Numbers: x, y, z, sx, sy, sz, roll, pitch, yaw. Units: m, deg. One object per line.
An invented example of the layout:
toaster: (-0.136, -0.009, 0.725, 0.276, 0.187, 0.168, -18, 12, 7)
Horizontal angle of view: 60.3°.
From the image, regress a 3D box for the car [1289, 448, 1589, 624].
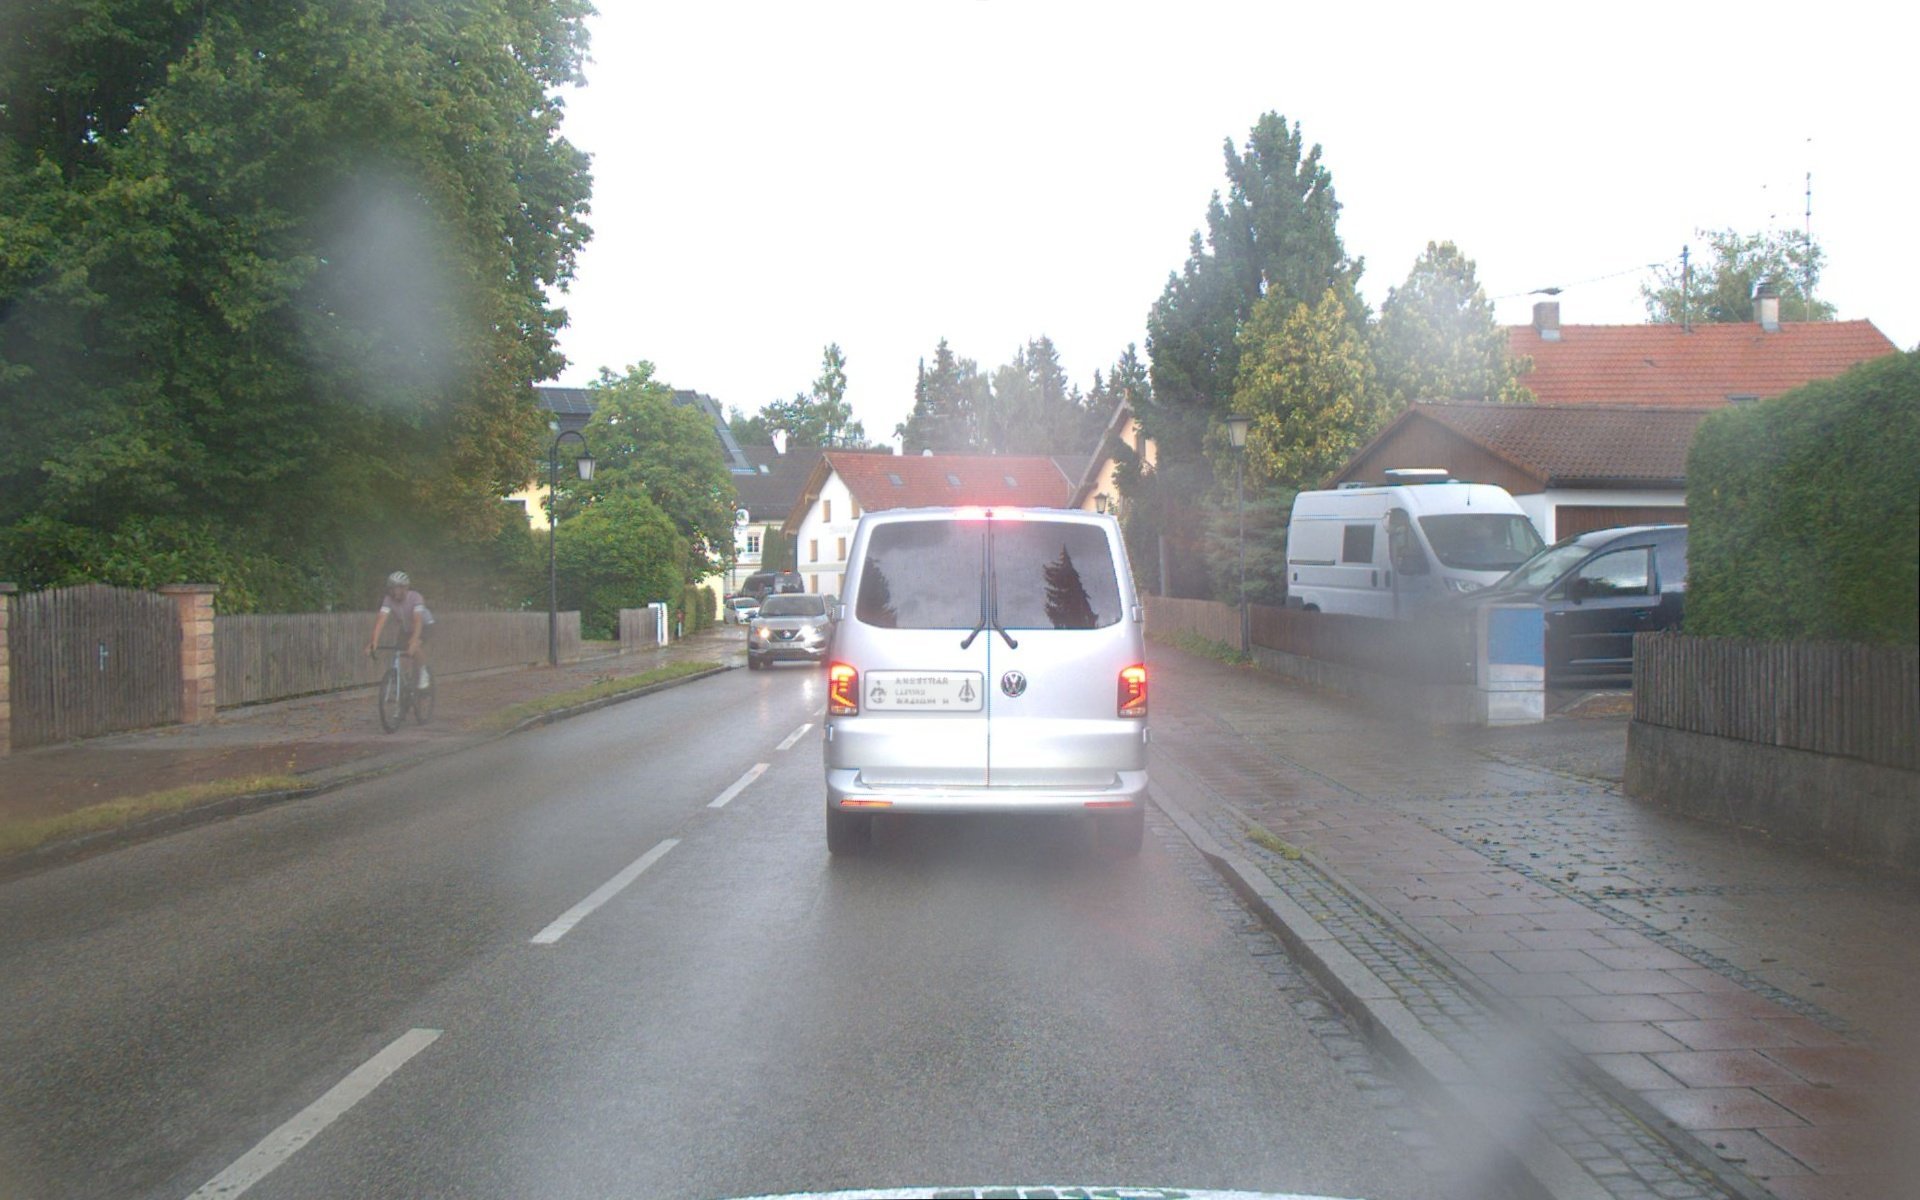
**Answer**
car: (6.691, -0.798, 23.776, 1.959, 2.211, 4.935, 1, -1, -13)

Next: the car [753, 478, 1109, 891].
car: (-0.074, 0.446, 10.390, 1.763, 2.049, 4.001, 1, -1, 2)

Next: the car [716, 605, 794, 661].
car: (-5.603, 0.898, 45.478, 1.584, 1.470, 3.671, 1, -1, 1)

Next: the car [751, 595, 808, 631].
car: (-10.174, 0.710, 92.847, 1.969, 1.961, 3.967, 2, -1, -26)

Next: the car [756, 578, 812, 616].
car: (-9.872, -0.160, 92.520, 1.967, 2.049, 3.970, 2, -1, -24)

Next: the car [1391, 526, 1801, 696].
car: (7.127, 0.083, 18.753, 4.012, 1.782, 1.693, -1, 2, -4)

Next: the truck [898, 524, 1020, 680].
truck: (-0.056, 0.076, 36.948, 2.425, 3.128, 6.294, 1, -1, -1)

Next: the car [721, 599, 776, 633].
car: (-11.143, 0.835, 86.829, 1.965, 1.733, 3.975, 2, -1, -21)

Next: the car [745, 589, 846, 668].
car: (-3.520, 0.610, 36.079, 1.790, 1.586, 4.176, -1, -1, 0)

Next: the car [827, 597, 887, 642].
car: (-4.999, 0.919, 79.564, 1.962, 2.049, 3.980, 2, -1, -18)

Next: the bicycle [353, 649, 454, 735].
bicycle: (-6.006, 0.974, 17.934, 0.447, 0.812, 1.977, 0, 0, -1)

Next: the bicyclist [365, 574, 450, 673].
bicyclist: (-5.977, 0.242, 17.936, 0.575, 1.039, 1.060, 0, 0, -1)
